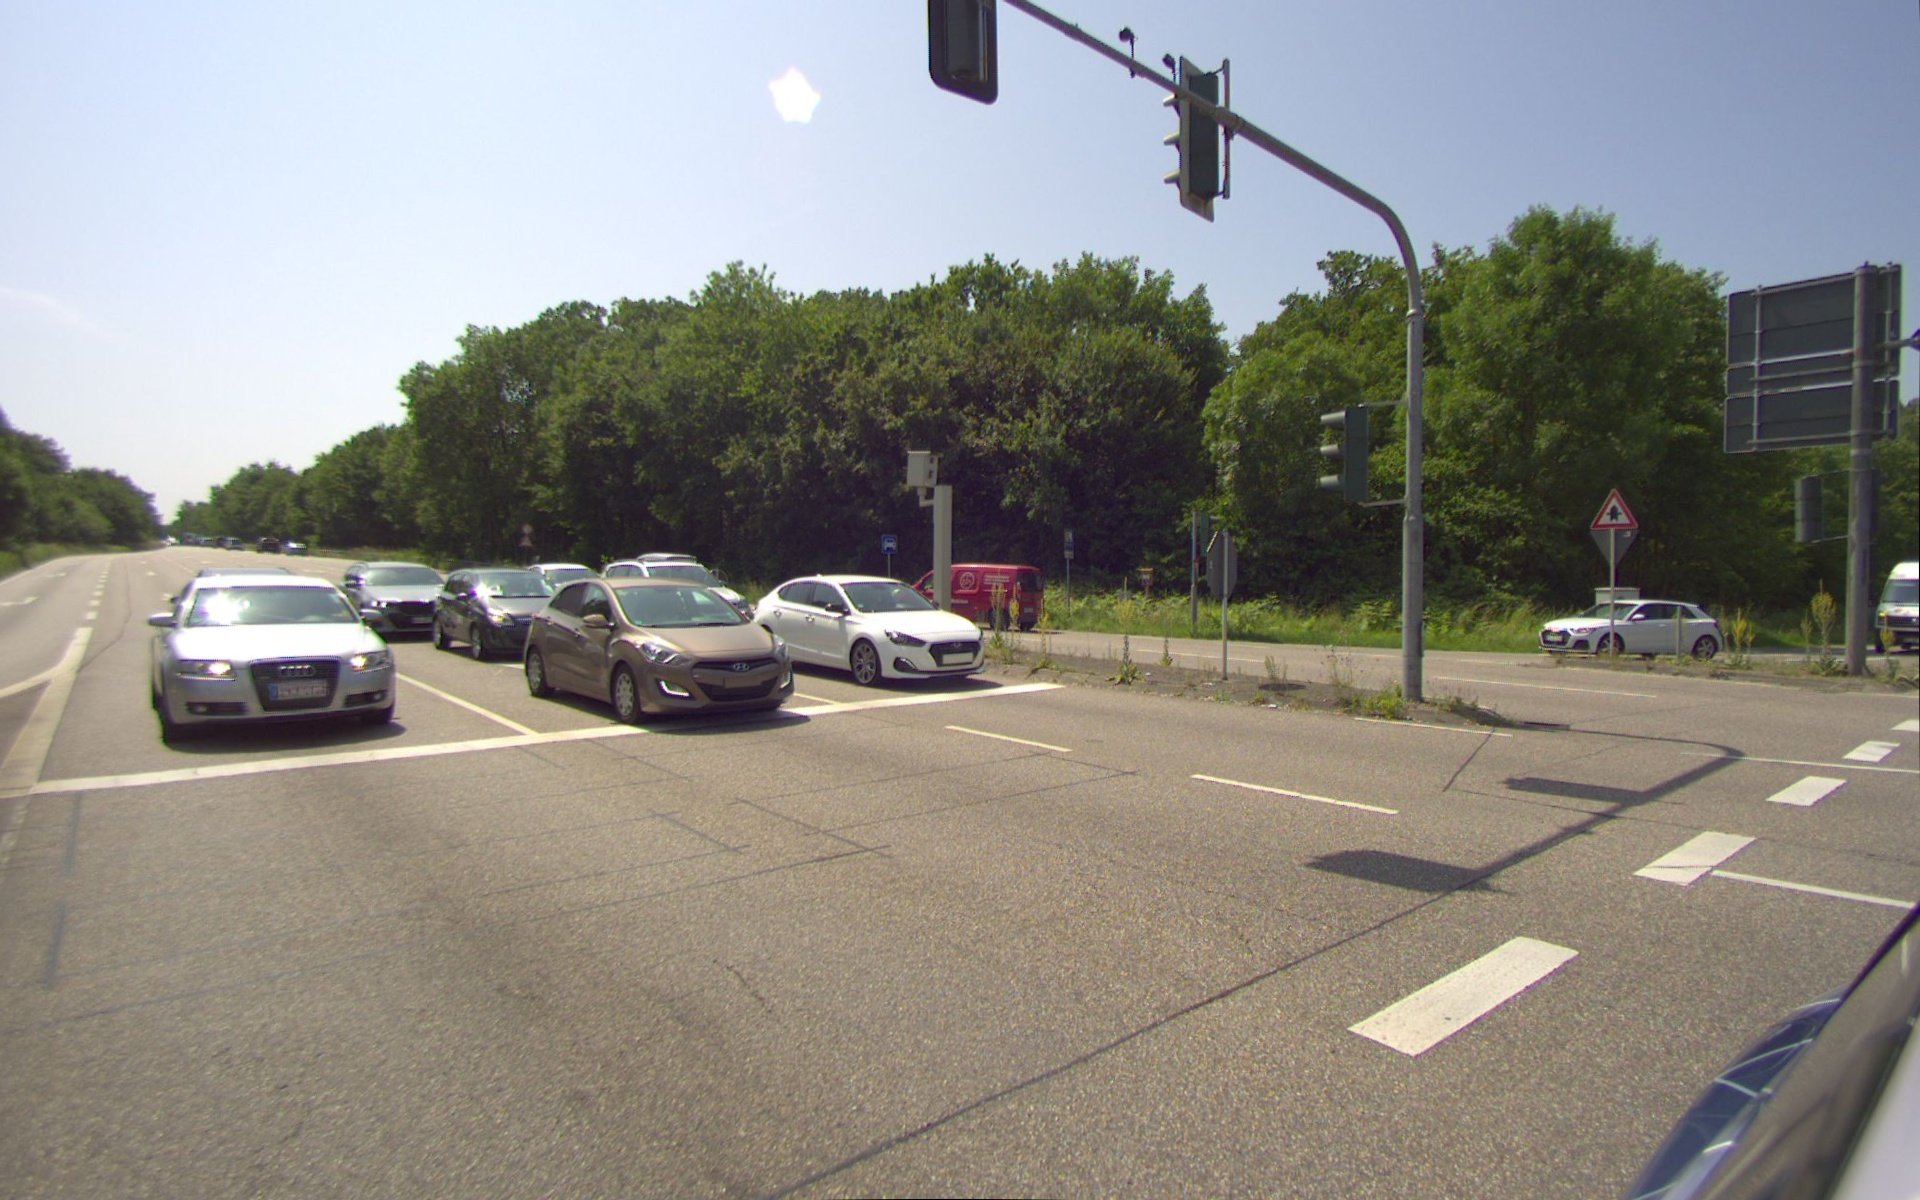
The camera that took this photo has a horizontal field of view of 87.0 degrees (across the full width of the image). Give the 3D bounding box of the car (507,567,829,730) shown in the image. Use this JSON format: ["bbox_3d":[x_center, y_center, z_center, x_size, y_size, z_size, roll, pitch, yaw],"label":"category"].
[{"bbox_3d":[-3.467,0.391,11.534,1.961,1.465,4.098,0,2,-42],"label":"car"}]

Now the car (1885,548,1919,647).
[{"bbox_3d":[28.447,-0.083,29.101,5.952,2.679,1.973,0,0,-40],"label":"car"}]

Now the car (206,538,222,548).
[{"bbox_3d":[-114.383,-8.725,155.100,1.814,1.517,4.458,0,2,-39],"label":"car"}]

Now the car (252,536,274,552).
[{"bbox_3d":[-81.128,-6.525,117.734,1.814,1.773,4.458,0,2,-39],"label":"car"}]

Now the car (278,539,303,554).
[{"bbox_3d":[-71.259,-5.635,107.727,1.814,1.517,4.458,0,2,-39],"label":"car"}]

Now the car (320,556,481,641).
[{"bbox_3d":[-12.053,-0.141,21.611,2.100,1.552,5.141,-1,3,-40],"label":"car"}]

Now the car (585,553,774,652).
[{"bbox_3d":[-5.487,-0.038,19.492,1.965,1.680,4.181,0,2,-40],"label":"car"}]

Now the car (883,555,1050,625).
[{"bbox_3d":[0.149,-0.268,28.490,4.461,1.846,1.777,1,0,32],"label":"car"}]

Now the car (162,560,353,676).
[{"bbox_3d":[-11.119,0.147,15.862,2.075,1.517,4.627,-1,3,-40],"label":"car"}]

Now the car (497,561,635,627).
[{"bbox_3d":[-9.739,-0.219,24.842,1.939,1.432,4.342,-1,3,-39],"label":"car"}]

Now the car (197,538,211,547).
[{"bbox_3d":[-129.741,-9.866,173.676,1.814,1.517,4.458,0,2,-39],"label":"car"}]

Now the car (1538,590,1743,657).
[{"bbox_3d":[16.025,0.533,23.910,3.917,1.454,1.698,-1,-1,-11],"label":"car"}]

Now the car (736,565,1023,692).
[{"bbox_3d":[-1.327,0.286,14.884,1.966,1.554,4.427,0,2,-41],"label":"car"}]

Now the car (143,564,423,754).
[{"bbox_3d":[-7.276,0.389,10.610,1.984,1.517,4.943,-1,2,-39],"label":"car"}]

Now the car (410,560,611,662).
[{"bbox_3d":[-8.006,0.078,17.812,2.085,1.554,4.429,-1,3,-40],"label":"car"}]

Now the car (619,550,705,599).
[{"bbox_3d":[-11.678,-0.963,39.461,1.731,1.796,4.107,1,0,-40],"label":"car"}]

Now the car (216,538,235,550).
[{"bbox_3d":[-100.015,-7.636,137.806,1.814,1.517,4.458,0,2,-39],"label":"car"}]
